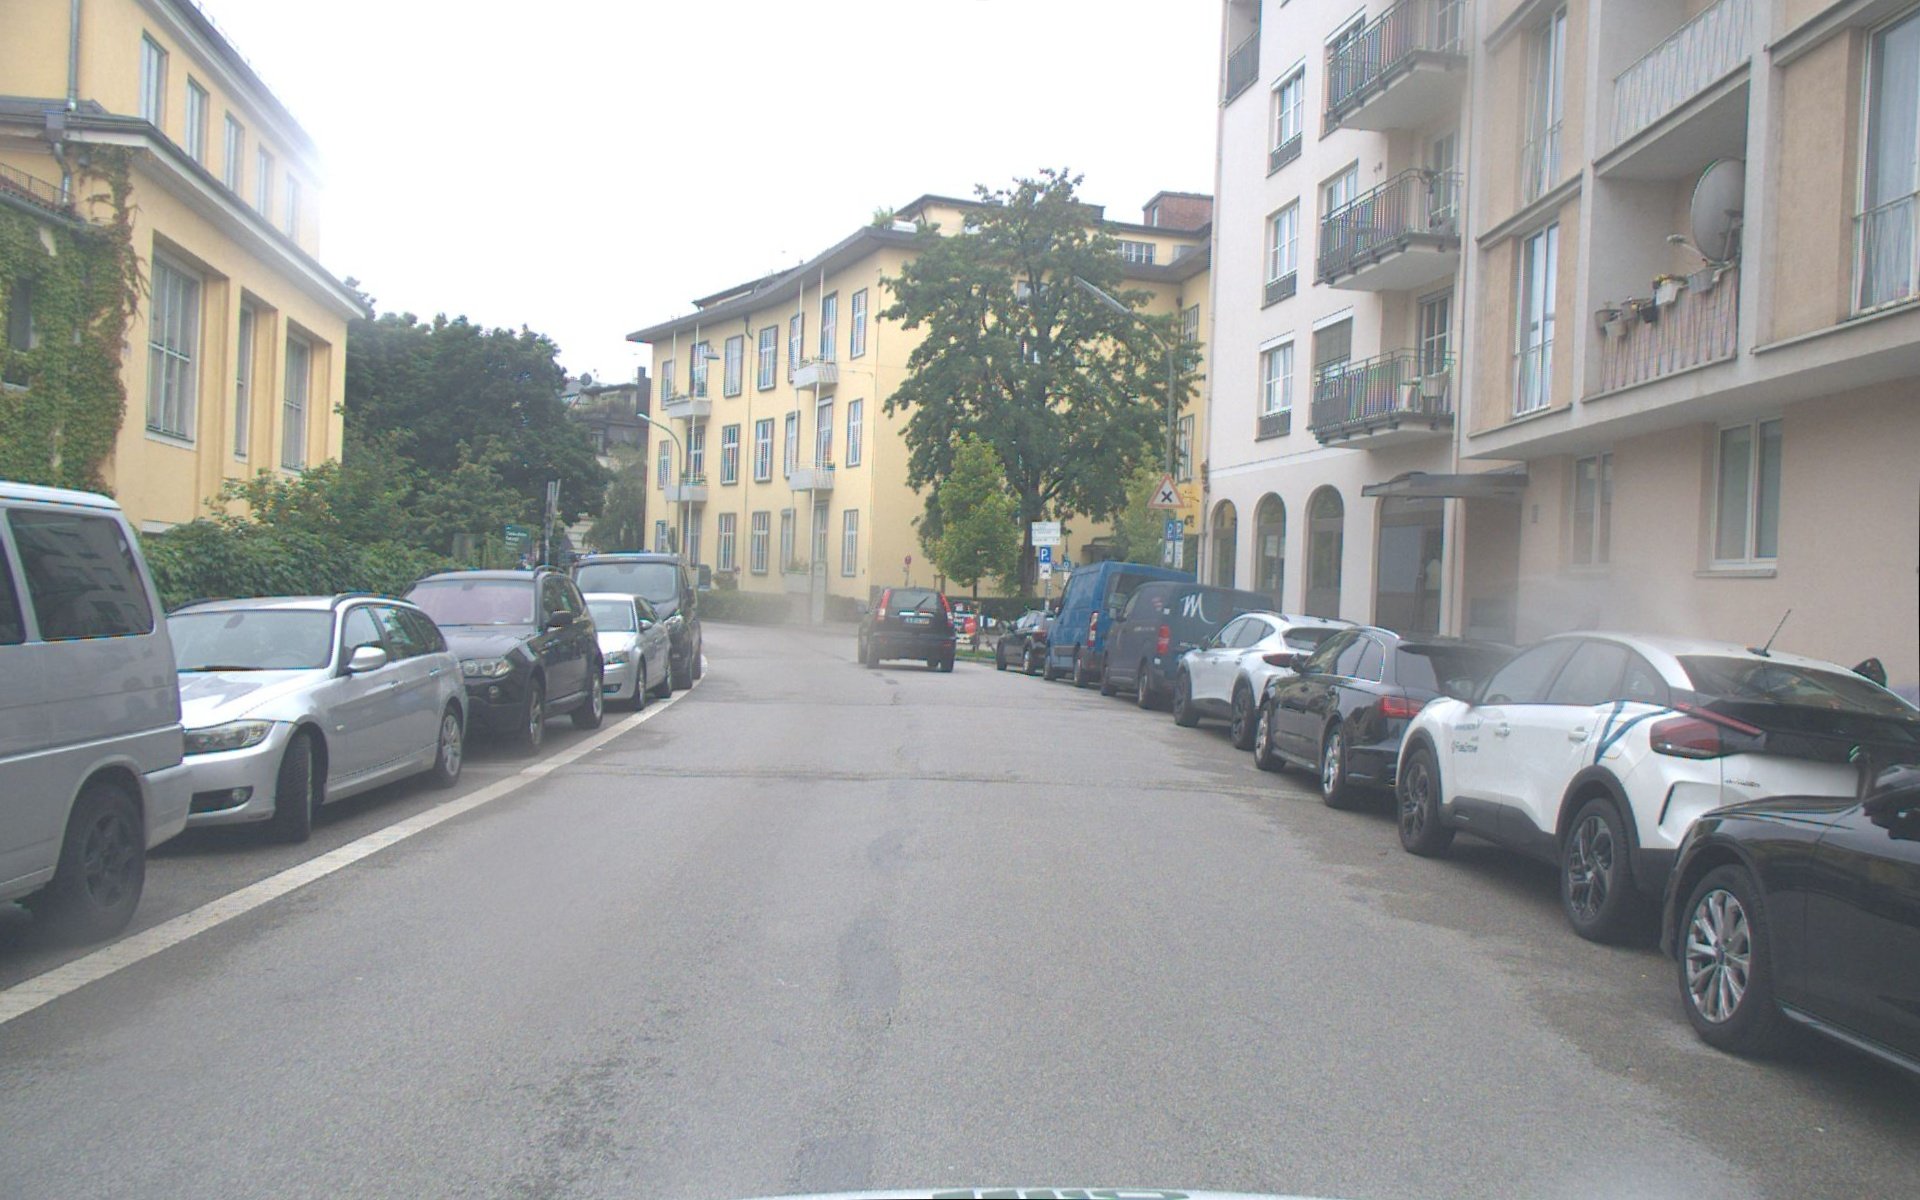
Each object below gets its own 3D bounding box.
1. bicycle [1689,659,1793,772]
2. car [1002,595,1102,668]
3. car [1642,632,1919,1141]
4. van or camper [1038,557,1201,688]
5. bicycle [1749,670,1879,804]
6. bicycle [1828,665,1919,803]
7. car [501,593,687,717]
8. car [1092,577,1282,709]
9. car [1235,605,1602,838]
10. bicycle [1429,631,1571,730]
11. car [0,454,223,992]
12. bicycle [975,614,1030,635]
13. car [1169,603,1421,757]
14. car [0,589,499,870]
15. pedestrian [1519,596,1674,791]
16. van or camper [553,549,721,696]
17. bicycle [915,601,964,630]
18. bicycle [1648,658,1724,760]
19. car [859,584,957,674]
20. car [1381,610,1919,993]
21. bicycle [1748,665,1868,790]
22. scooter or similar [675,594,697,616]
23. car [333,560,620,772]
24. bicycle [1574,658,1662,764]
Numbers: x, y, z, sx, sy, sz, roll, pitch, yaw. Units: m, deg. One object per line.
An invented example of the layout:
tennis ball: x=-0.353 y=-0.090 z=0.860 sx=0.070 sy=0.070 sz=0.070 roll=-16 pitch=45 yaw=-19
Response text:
bicycle: x=7.963 y=1.155 z=16.913 sx=0.382 sy=1.041 sz=1.401 roll=1 pitch=0 yaw=-1
car: x=2.051 y=0.670 z=37.698 sx=1.671 sy=1.544 sz=3.953 roll=0 pitch=0 yaw=-6
car: x=3.776 y=0.960 z=4.485 sx=1.760 sy=1.445 sz=4.481 roll=5 pitch=0 yaw=-2
van or camper: x=2.909 y=0.367 z=31.524 sx=2.021 sy=2.270 sz=5.431 roll=0 pitch=0 yaw=-6
bicycle: x=7.440 y=1.170 z=14.463 sx=0.382 sy=1.041 sz=1.401 roll=1 pitch=0 yaw=-1
bicycle: x=7.900 y=1.106 z=13.958 sx=0.382 sy=1.041 sz=1.401 roll=1 pitch=0 yaw=-1
car: x=-4.605 y=0.631 z=21.330 sx=1.587 sy=1.402 sz=4.070 roll=0 pitch=1 yaw=-2
car: x=3.390 y=0.630 z=25.713 sx=1.926 sy=1.848 sz=4.931 roll=0 pitch=-1 yaw=-4
car: x=3.741 y=0.902 z=14.384 sx=1.704 sy=1.525 sz=4.493 roll=4 pitch=0 yaw=-2
bicycle: x=7.434 y=1.084 z=22.921 sx=1.123 sy=1.207 sz=2.206 roll=2 pitch=0 yaw=-3
car: x=-4.398 y=0.463 z=5.224 sx=1.953 sy=1.908 sz=4.758 roll=-1 pitch=0 yaw=0
bicycle: x=1.748 y=1.007 z=67.851 sx=2.163 sy=0.792 sz=0.611 roll=2 pitch=0 yaw=12
car: x=3.861 y=0.868 z=19.813 sx=1.706 sy=1.564 sz=4.268 roll=2 pitch=0 yaw=-6
car: x=-4.495 y=0.667 z=10.868 sx=1.666 sy=1.447 sz=4.425 roll=0 pitch=1 yaw=0
pedestrian: x=5.883 y=0.831 z=15.365 sx=0.880 sy=1.717 sz=1.319 roll=1 pitch=0 yaw=-2
van or camper: x=-5.002 y=0.298 z=26.252 sx=1.921 sy=2.101 sz=4.751 roll=0 pitch=0 yaw=-3
bicycle: x=-0.863 y=0.648 z=69.029 sx=2.177 sy=1.136 sz=0.607 roll=2 pitch=0 yaw=41
bicycle: x=7.944 y=1.176 z=18.129 sx=0.366 sy=1.041 sz=1.001 roll=1 pitch=0 yaw=-1
car: x=-1.038 y=0.554 z=35.084 sx=1.954 sy=1.723 sz=4.380 roll=0 pitch=1 yaw=0
car: x=3.903 y=0.924 z=9.386 sx=1.704 sy=1.525 sz=4.217 roll=5 pitch=0 yaw=-2
bicycle: x=7.902 y=1.166 z=15.461 sx=0.382 sy=1.041 sz=1.401 roll=1 pitch=0 yaw=-1
scooter or similar: x=-13.947 y=0.257 z=84.283 sx=0.485 sy=1.128 sz=1.410 roll=1 pitch=1 yaw=20
car: x=-4.496 y=0.529 z=16.042 sx=1.587 sy=1.760 sz=4.423 roll=0 pitch=0 yaw=-2
bicycle: x=7.103 y=1.181 z=17.904 sx=0.414 sy=1.041 sz=1.301 roll=1 pitch=0 yaw=-1
